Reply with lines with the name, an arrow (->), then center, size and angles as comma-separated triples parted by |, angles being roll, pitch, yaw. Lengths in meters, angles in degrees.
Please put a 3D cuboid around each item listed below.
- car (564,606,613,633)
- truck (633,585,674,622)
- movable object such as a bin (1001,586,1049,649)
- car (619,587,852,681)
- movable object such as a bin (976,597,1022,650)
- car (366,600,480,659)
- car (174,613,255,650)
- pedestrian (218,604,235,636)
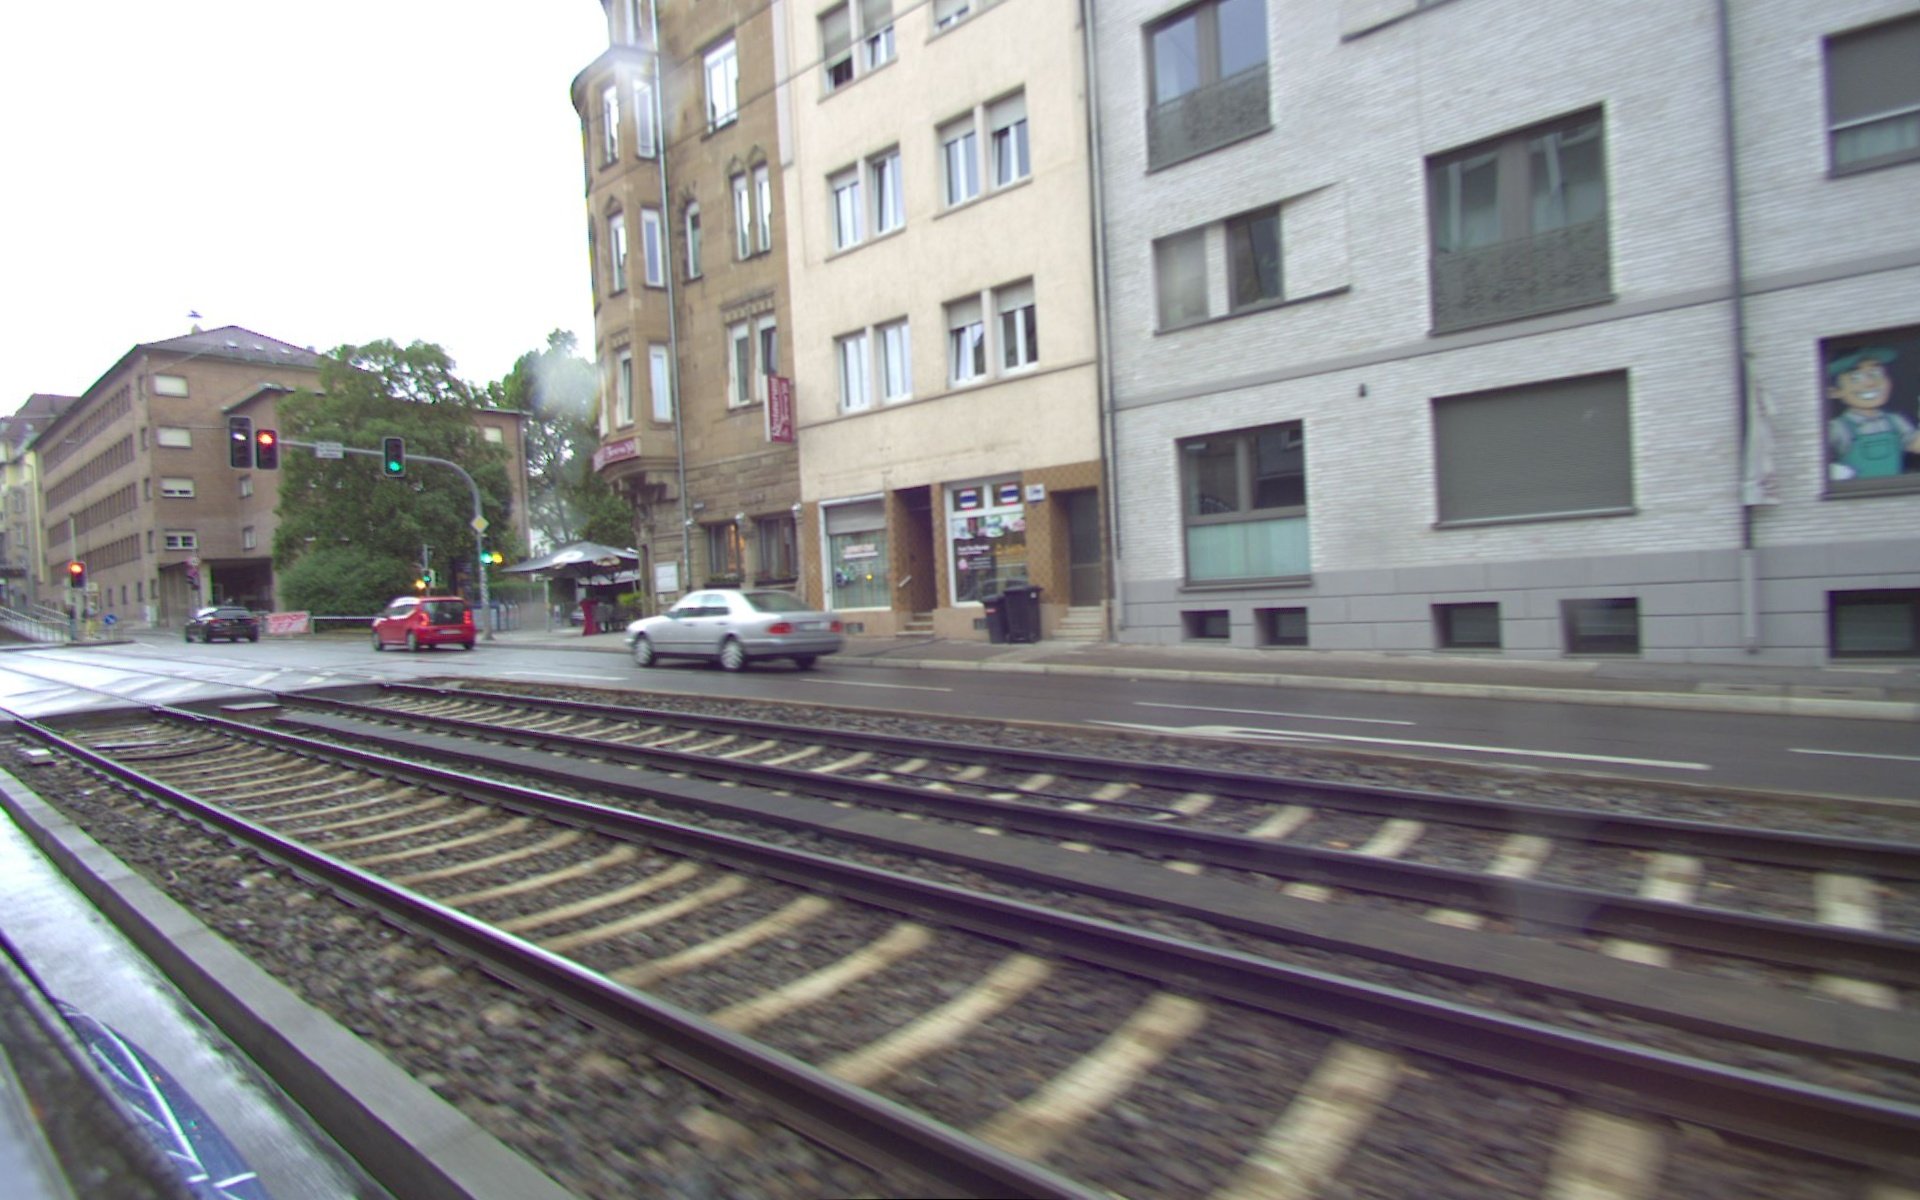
car -> -24.429, 1.258, 66.740 | 1.812, 1.657, 4.001 | -2, 0, -1
truck -> -25.812, 0.258, 85.390 | 2.662, 2.938, 6.817 | -2, 0, -12
movable object such as a bin -> 1.211, 0.326, 18.762 | 0.563, 1.088, 0.623 | -1, 5, 40
car -> -4.155, 0.559, 18.251 | 4.641, 1.472, 1.695 | -1, 1, 42
movable object such as a bin -> 0.741, 0.446, 19.250 | 0.563, 0.934, 0.623 | -1, 5, 40
car -> -14.705, 0.782, 27.658 | 3.386, 1.461, 1.610 | -1, 1, 41
car -> -29.503, 1.223, 40.021 | 3.943, 1.346, 1.759 | -1, 1, 41
pedestrian -> -40.686, 1.099, 56.151 | 0.464, 1.760, 0.616 | -1, -2, 37
